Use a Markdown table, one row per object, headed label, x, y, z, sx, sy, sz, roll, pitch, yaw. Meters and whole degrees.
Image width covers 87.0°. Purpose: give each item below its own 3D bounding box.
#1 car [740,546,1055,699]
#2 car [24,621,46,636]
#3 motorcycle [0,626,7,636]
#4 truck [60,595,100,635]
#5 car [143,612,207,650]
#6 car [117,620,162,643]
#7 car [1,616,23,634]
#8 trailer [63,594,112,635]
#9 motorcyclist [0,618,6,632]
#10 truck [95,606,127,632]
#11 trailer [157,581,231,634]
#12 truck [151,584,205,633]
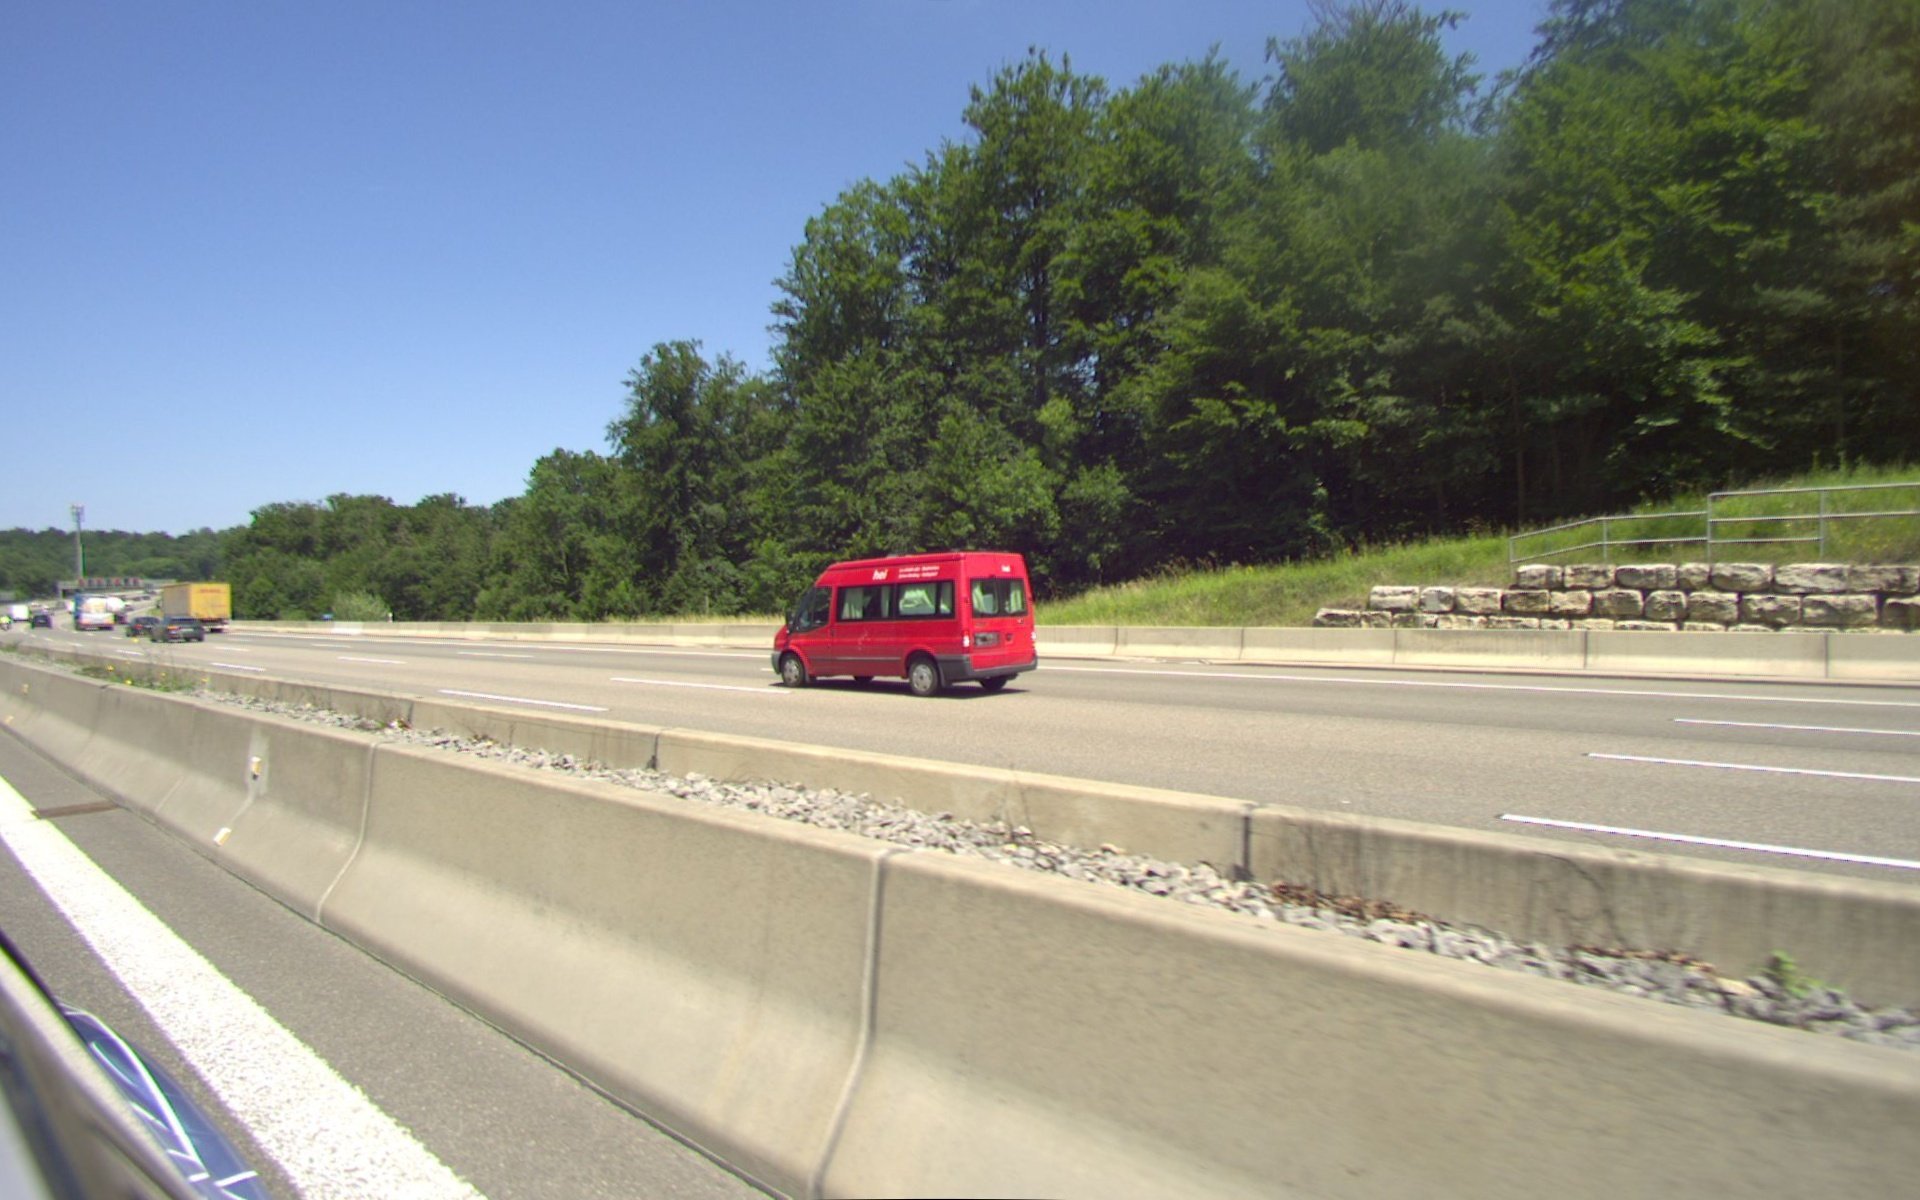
| label | x | y | z | sx | sy | sz | roll | pitch | yaw |
| --- | --- | --- | --- | --- | --- | --- | --- | --- | --- |
| car | -1.283 | 0.384 | 17.859 | 5.799 | 2.304 | 1.973 | -2 | 0 | 41 |
| car | -105.387 | 3.210 | 115.278 | 4.061 | 1.656 | 1.700 | -1 | -1 | 45 |
| motorcycle | -96.263 | 3.088 | 101.597 | 2.528 | 1.021 | 0.719 | -1 | -1 | 44 |
| truck | -91.260 | 1.555 | 104.937 | 6.802 | 3.970 | 2.503 | -1 | -1 | 44 |
| car | -43.593 | 1.651 | 56.143 | 5.252 | 1.885 | 1.972 | 0 | 1 | 43 |
| car | -57.924 | 2.203 | 71.446 | 4.582 | 1.494 | 1.971 | -1 | -1 | 44 |
| car | -149.468 | 3.909 | 159.591 | 6.309 | 2.709 | 2.074 | -2 | 0 | 43 |
| trailer | -87.449 | 1.504 | 101.333 | 11.696 | 3.910 | 2.510 | -1 | -1 | 43 |
| motorcyclist | -96.251 | 2.494 | 101.585 | 0.906 | 1.371 | 0.719 | -1 | -1 | 44 |
| truck | -118.211 | 2.594 | 140.830 | 2.580 | 3.492 | 9.887 | -2 | 1 | -45 |
| trailer | -62.974 | 0.687 | 83.027 | 13.726 | 4.035 | 2.693 | -1 | -1 | 43 |
| truck | -67.697 | 0.741 | 87.539 | 6.752 | 4.048 | 2.720 | -1 | -1 | 43 |
